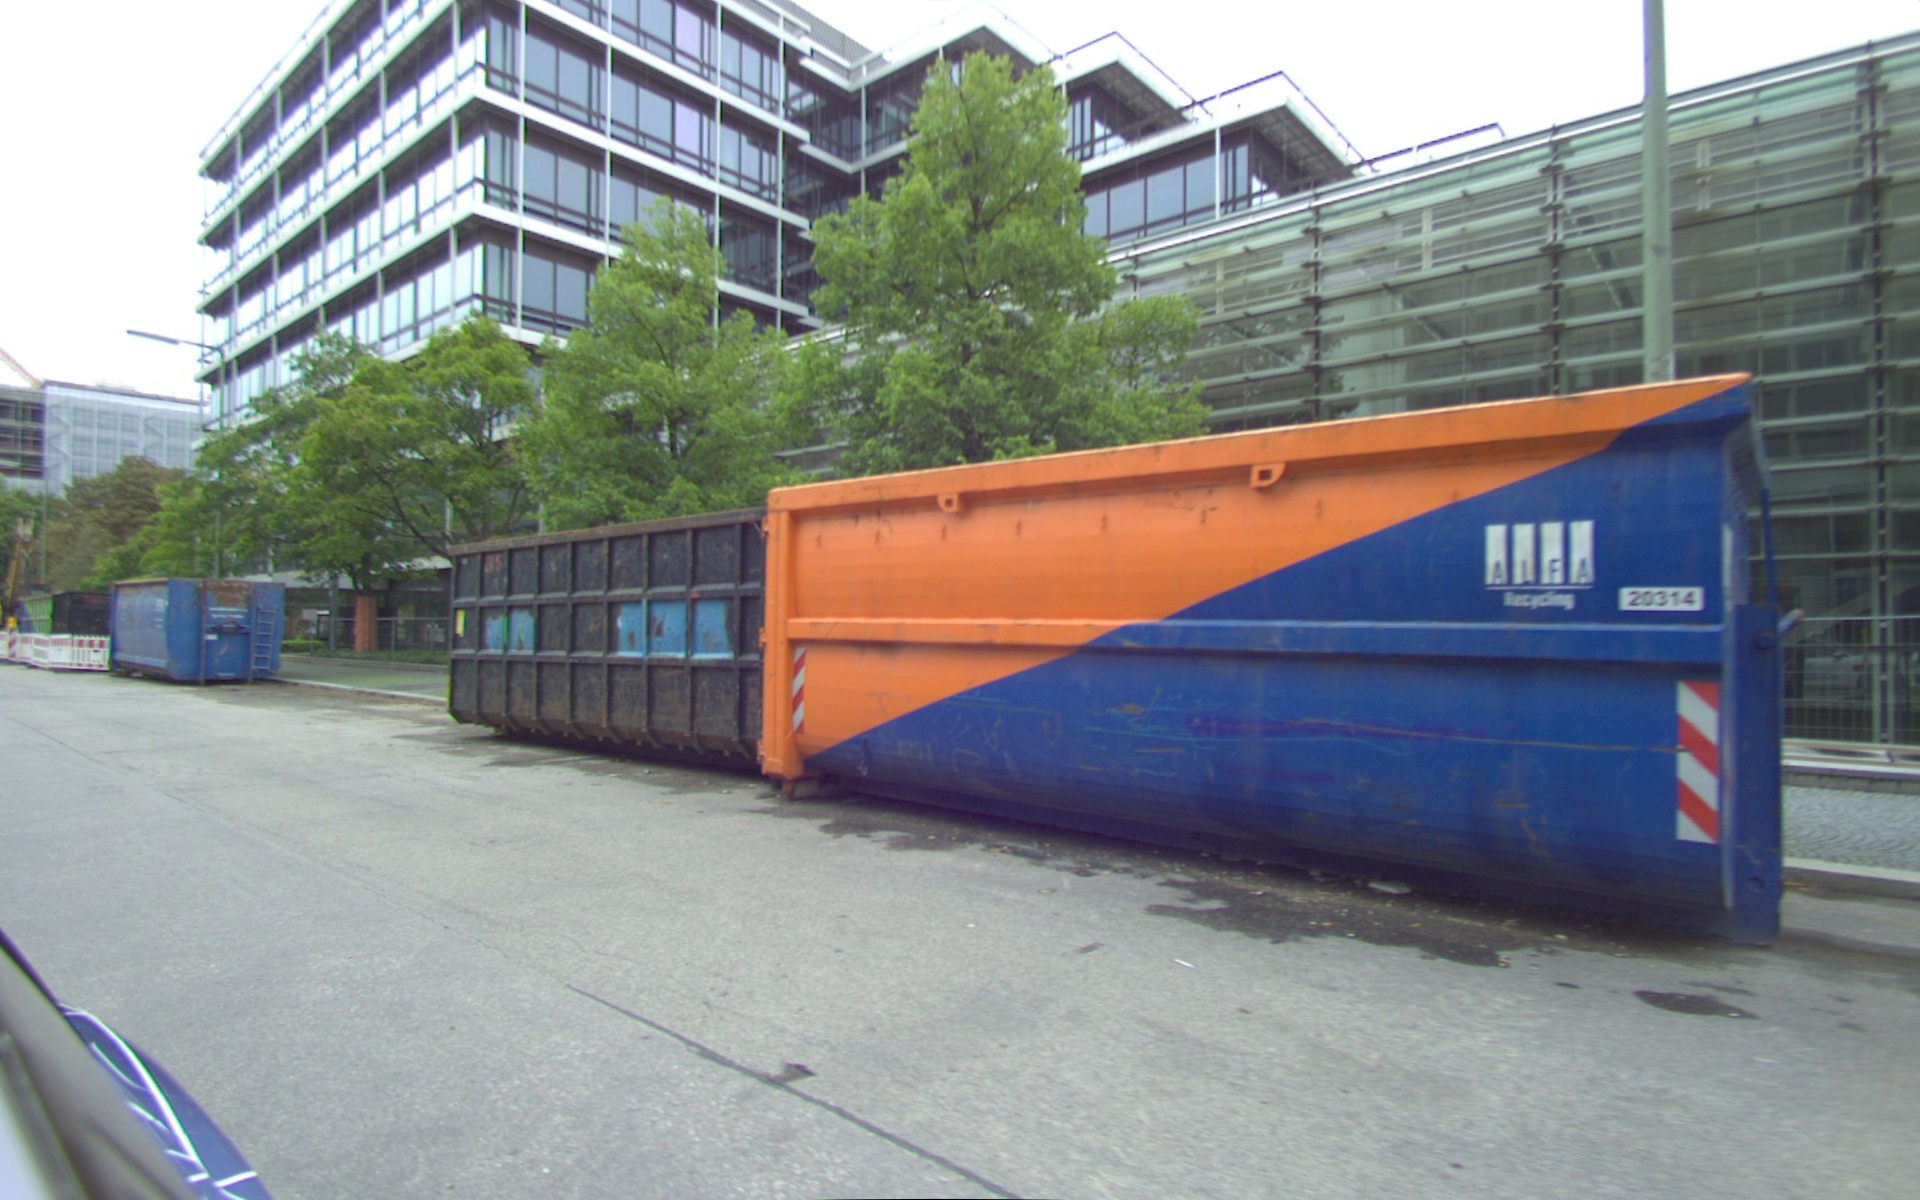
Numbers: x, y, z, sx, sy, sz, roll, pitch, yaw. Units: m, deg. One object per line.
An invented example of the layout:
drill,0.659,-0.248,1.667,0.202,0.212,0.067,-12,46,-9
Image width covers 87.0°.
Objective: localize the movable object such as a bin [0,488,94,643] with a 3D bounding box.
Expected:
movable object such as a bin,-44.228,-1.350,48.012,11.776,6.614,2.874,-1,-2,41
